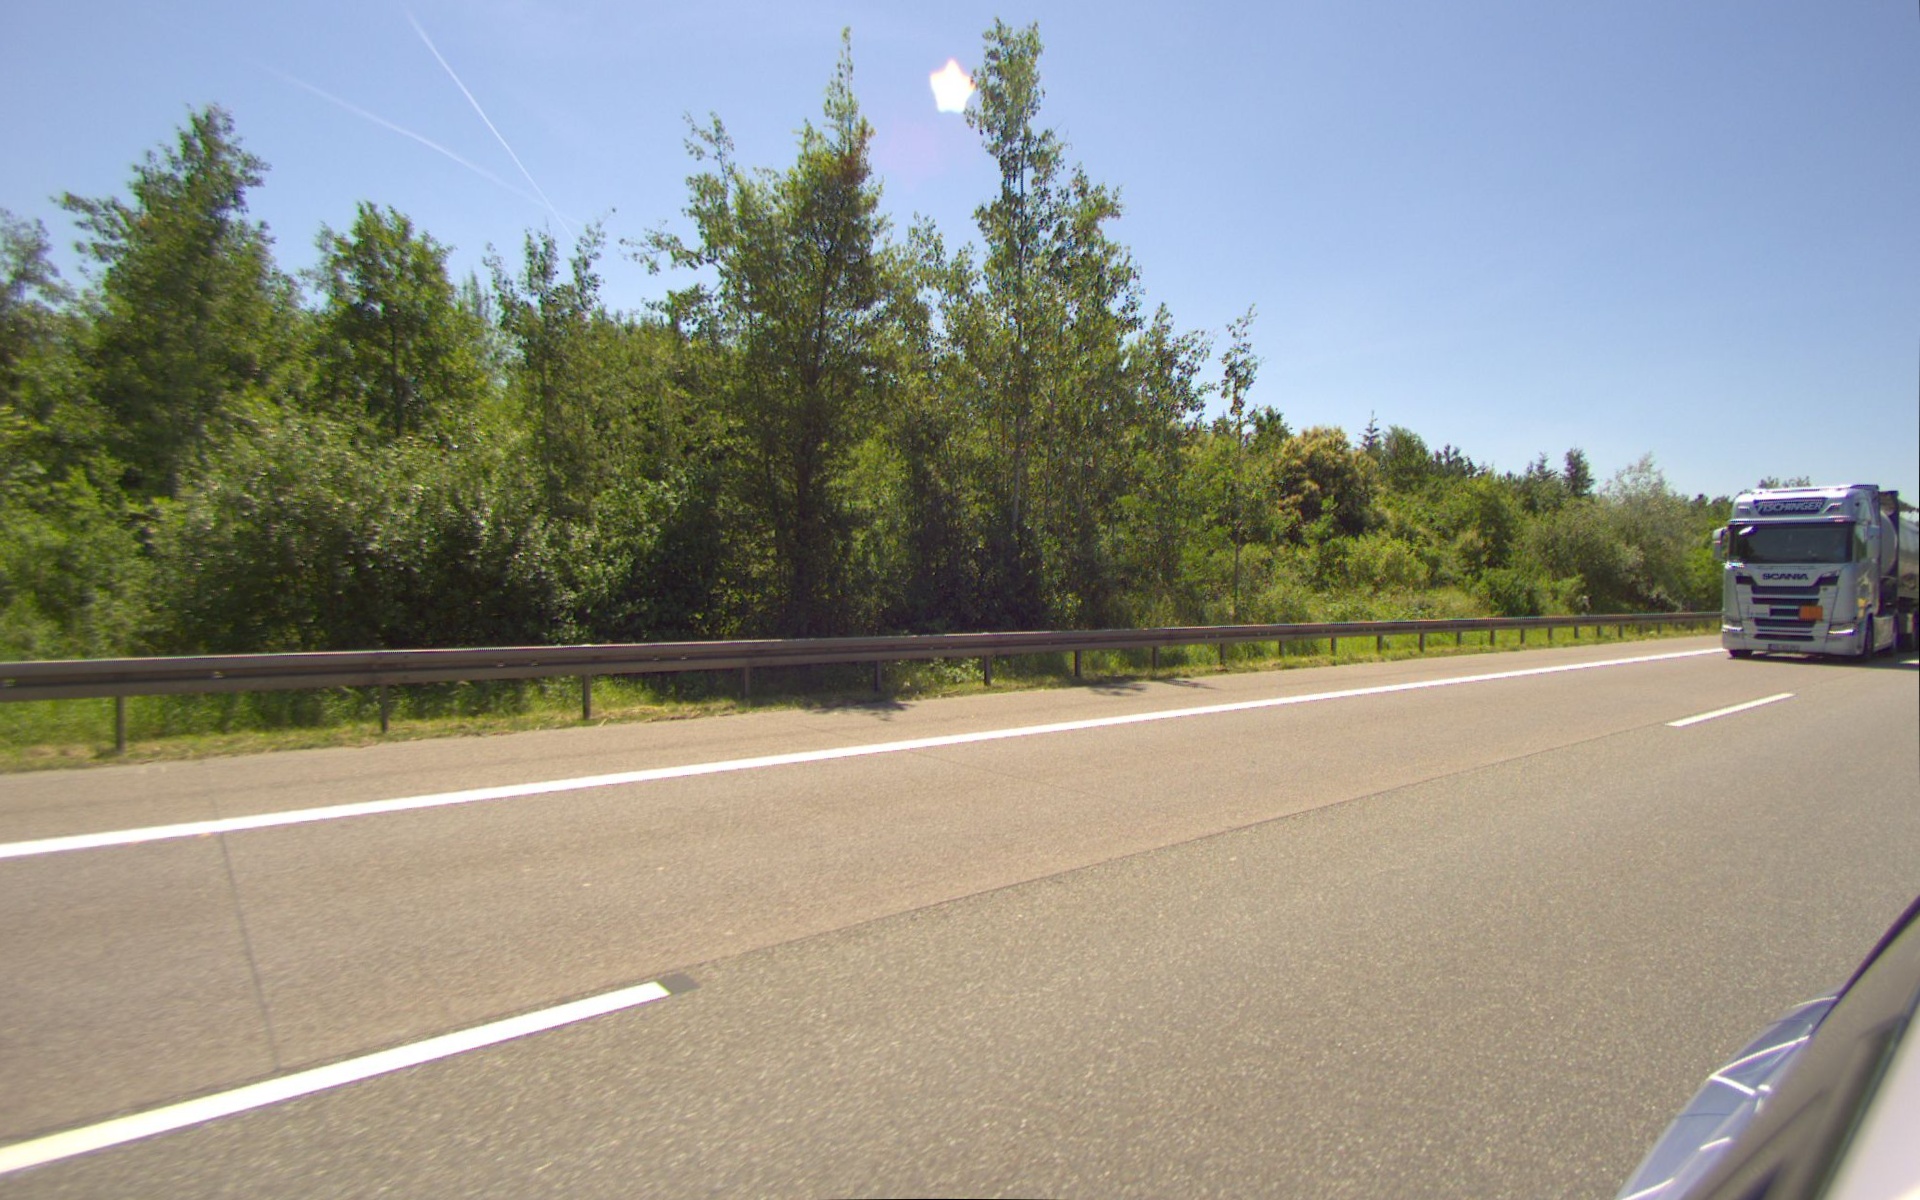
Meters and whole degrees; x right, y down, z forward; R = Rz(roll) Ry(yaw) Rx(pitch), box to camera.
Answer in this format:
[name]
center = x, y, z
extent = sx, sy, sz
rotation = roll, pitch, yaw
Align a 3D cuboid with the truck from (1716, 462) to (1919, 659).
[truck]
center = 23.268, -0.901, 26.415
extent = 13.119, 4.097, 2.804
rotation = -1, 0, -40
